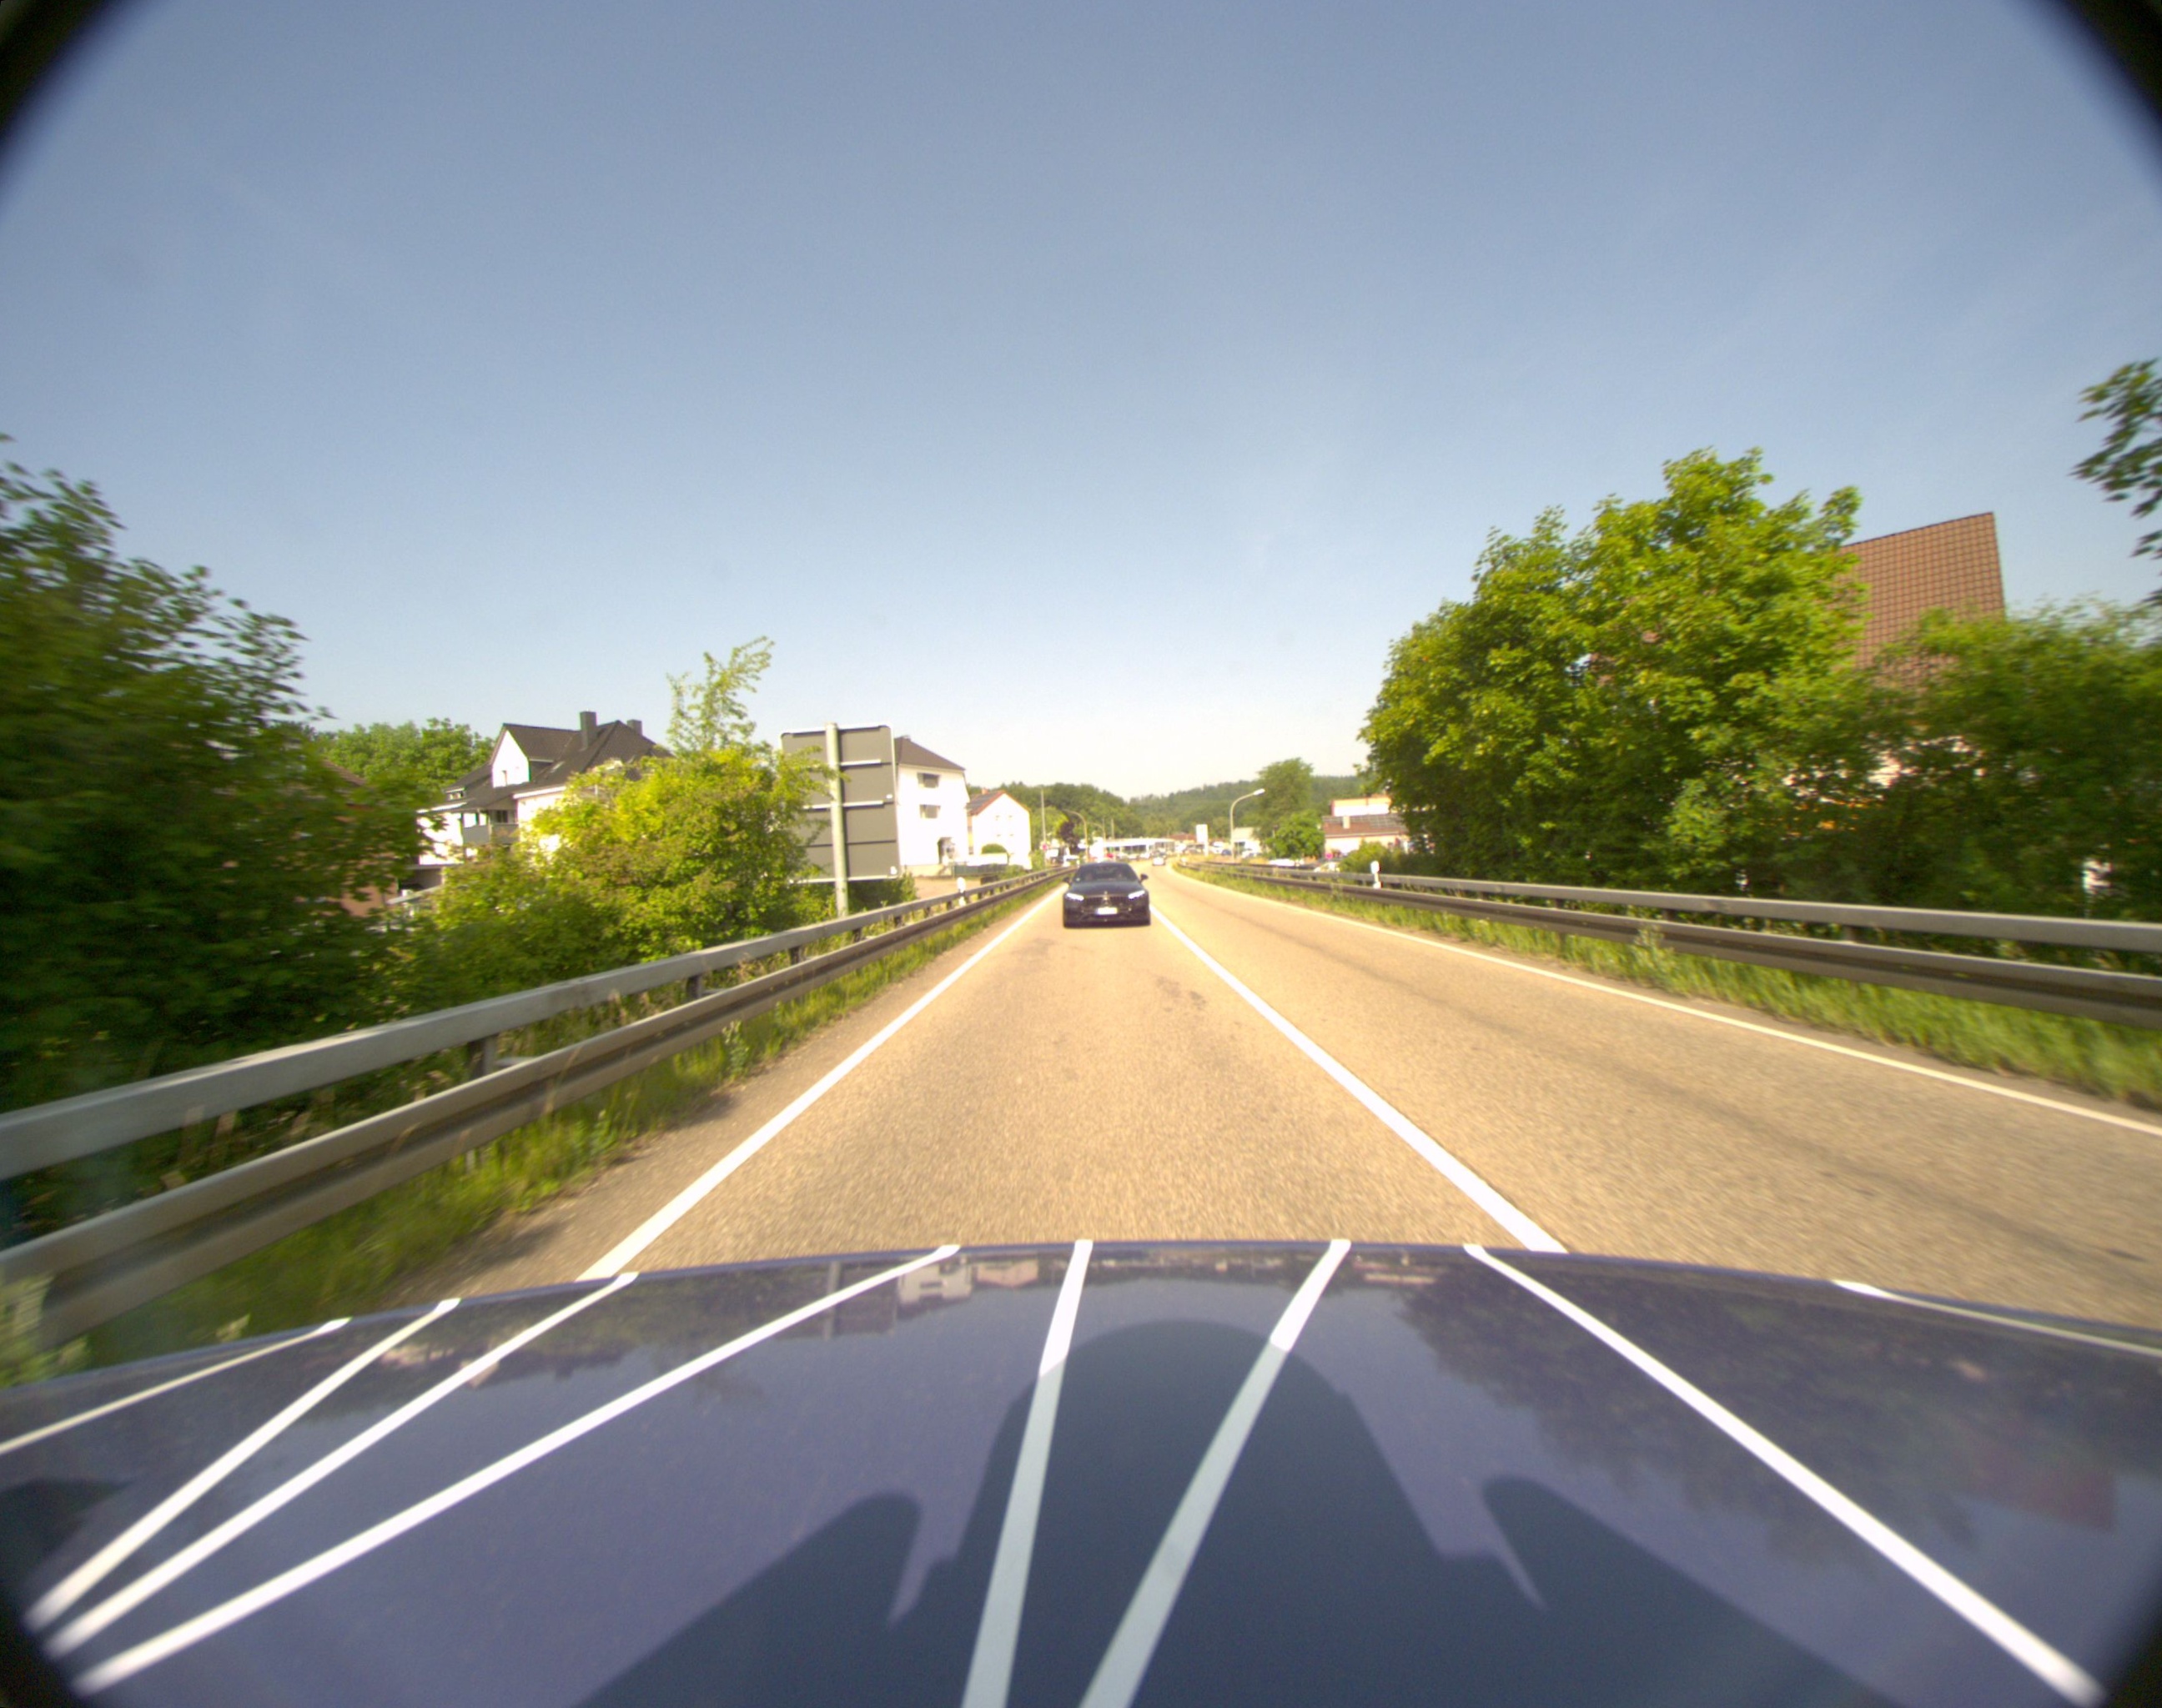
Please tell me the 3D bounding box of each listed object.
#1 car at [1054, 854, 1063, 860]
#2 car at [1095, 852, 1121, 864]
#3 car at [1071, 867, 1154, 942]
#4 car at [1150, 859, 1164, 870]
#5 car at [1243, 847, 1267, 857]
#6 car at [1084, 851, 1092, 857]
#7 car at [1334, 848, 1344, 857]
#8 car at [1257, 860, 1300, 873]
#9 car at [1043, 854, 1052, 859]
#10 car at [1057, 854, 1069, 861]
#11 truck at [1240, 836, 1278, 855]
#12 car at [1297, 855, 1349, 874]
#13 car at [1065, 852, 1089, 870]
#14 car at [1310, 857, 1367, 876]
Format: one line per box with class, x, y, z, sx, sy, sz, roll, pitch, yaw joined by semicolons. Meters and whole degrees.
car;-5.273;0.712;175.107;1.594;1.179;3.659;-2;1;-9
car;4.596;0.636;130.272;4.244;1.563;1.918;-6;1;-2
car;0.676;1.094;18.079;1.716;1.382;4.146;-1;1;0
car;10.486;1.403;104.408;1.762;1.402;3.990;-1;1;4
car;33.814;-0.424;147.979;4.358;1.645;1.933;-3;1;9
car;2.373;0.017;246.670;2.001;1.537;4.611;-1;1;6
car;33.430;-0.211;98.493;0.816;1.139;2.017;-2;2;10
car;23.484;1.520;90.561;4.626;1.374;1.743;-2;0;4
car;-8.327;0.699;187.434;1.595;1.179;3.658;-2;1;-13
car;-3.959;0.675;168.763;1.914;1.397;4.520;-2;1;-9
truck;37.335;-1.842;159.172;8.225;3.536;2.799;-3;0;-35
car;22.527;0.976;70.835;4.309;1.656;1.874;-2;1;4
car;-0.412;0.775;89.234;1.997;1.933;5.364;-2;0;8
car;21.796;1.041;64.401;4.308;1.496;1.875;-2;1;8
